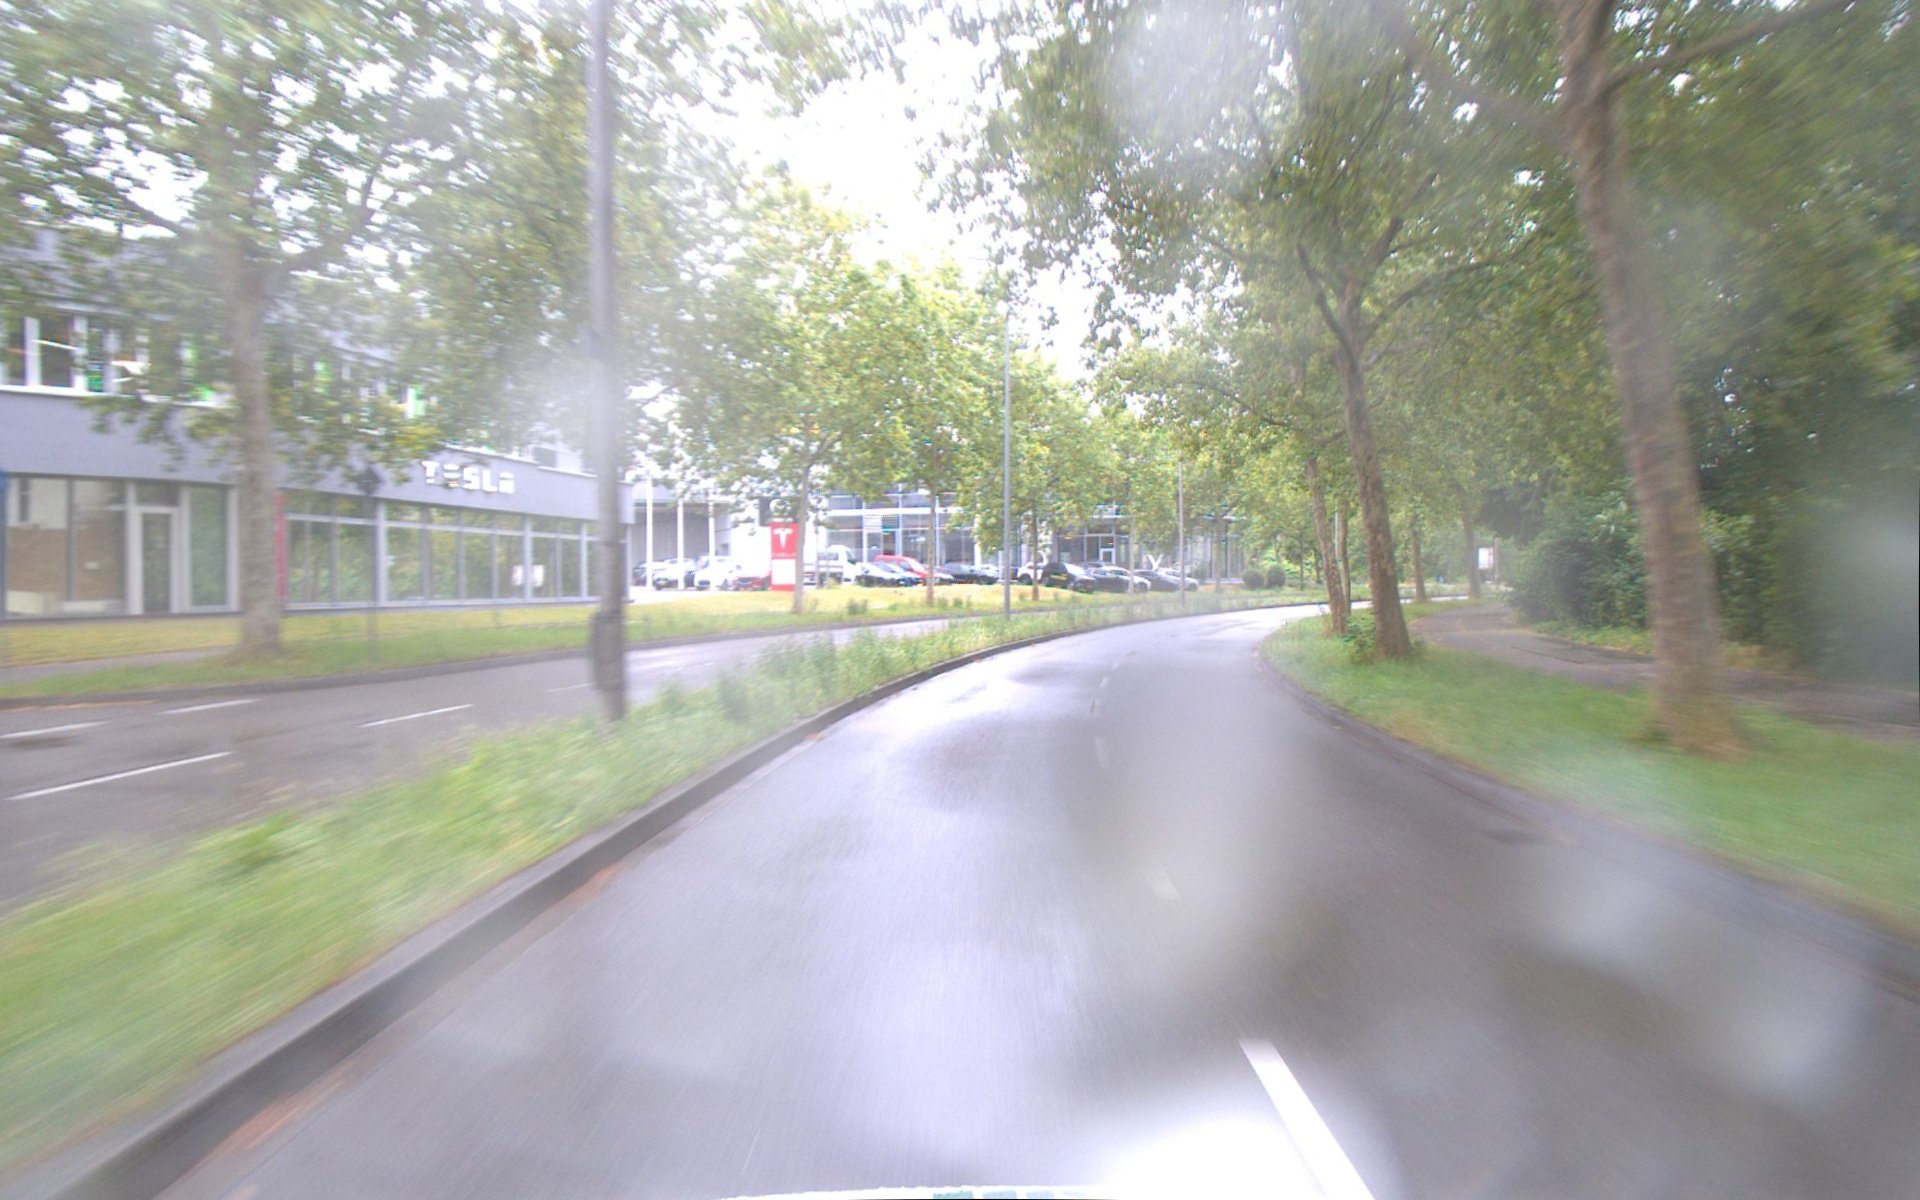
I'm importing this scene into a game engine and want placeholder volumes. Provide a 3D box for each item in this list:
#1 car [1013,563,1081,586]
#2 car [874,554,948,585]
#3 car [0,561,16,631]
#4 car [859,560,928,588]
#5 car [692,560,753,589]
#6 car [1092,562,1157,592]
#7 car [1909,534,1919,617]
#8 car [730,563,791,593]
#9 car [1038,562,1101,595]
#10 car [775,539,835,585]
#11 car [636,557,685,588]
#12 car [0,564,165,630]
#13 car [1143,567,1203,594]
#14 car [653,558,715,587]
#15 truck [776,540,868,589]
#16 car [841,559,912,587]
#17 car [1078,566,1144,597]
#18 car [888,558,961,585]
[{"bbox_3d":[6.085,-1.782,115.400,4.330,1.499,1.920,1,1,20],"label":"car"},{"bbox_3d":[-2.854,-1.797,96.680,3.915,1.583,1.847,4,3,23],"label":"car"},{"bbox_3d":[-22.889,-0.099,36.067,4.102,1.520,1.599,0,0,16],"label":"car"},{"bbox_3d":[-3.780,-1.481,94.122,3.452,1.349,1.768,4,3,23],"label":"car"},{"bbox_3d":[-12.949,-1.424,90.298,1.725,1.421,4.160,2,3,16],"label":"car"},{"bbox_3d":[11.522,-1.608,115.976,4.051,1.503,1.841,5,5,-17],"label":"car"},{"bbox_3d":[19.270,-0.379,29.128,4.055,1.508,1.770,2,3,14],"label":"car"},{"bbox_3d":[-10.662,-1.204,88.677,1.725,1.492,4.160,2,3,16],"label":"car"},{"bbox_3d":[7.272,-1.445,110.181,1.825,1.582,4.391,3,6,-33],"label":"car"},{"bbox_3d":[-10.002,-2.456,106.343,2.137,2.800,5.297,1,2,-25],"label":"car"},{"bbox_3d":[-18.512,-1.698,102.116,1.792,1.795,4.617,1,2,-25],"label":"car"},{"bbox_3d":[-21.154,-0.089,39.243,4.102,1.520,1.599,0,0,16],"label":"car"},{"bbox_3d":[15.824,-1.485,123.076,3.931,1.500,1.775,5,5,-22],"label":"car"},{"bbox_3d":[-15.157,-1.534,90.964,1.725,1.421,4.160,2,3,16],"label":"car"},{"bbox_3d":[-7.291,-1.926,88.086,2.202,2.384,6.193,4,3,23],"label":"truck"},{"bbox_3d":[-4.641,-1.501,91.994,3.452,1.349,1.768,4,3,23],"label":"car"},{"bbox_3d":[10.309,-1.273,113.295,4.042,1.503,1.845,6,5,-9],"label":"car"},{"bbox_3d":[-2.136,-1.714,99.438,3.915,1.380,1.847,4,3,23],"label":"car"}]
